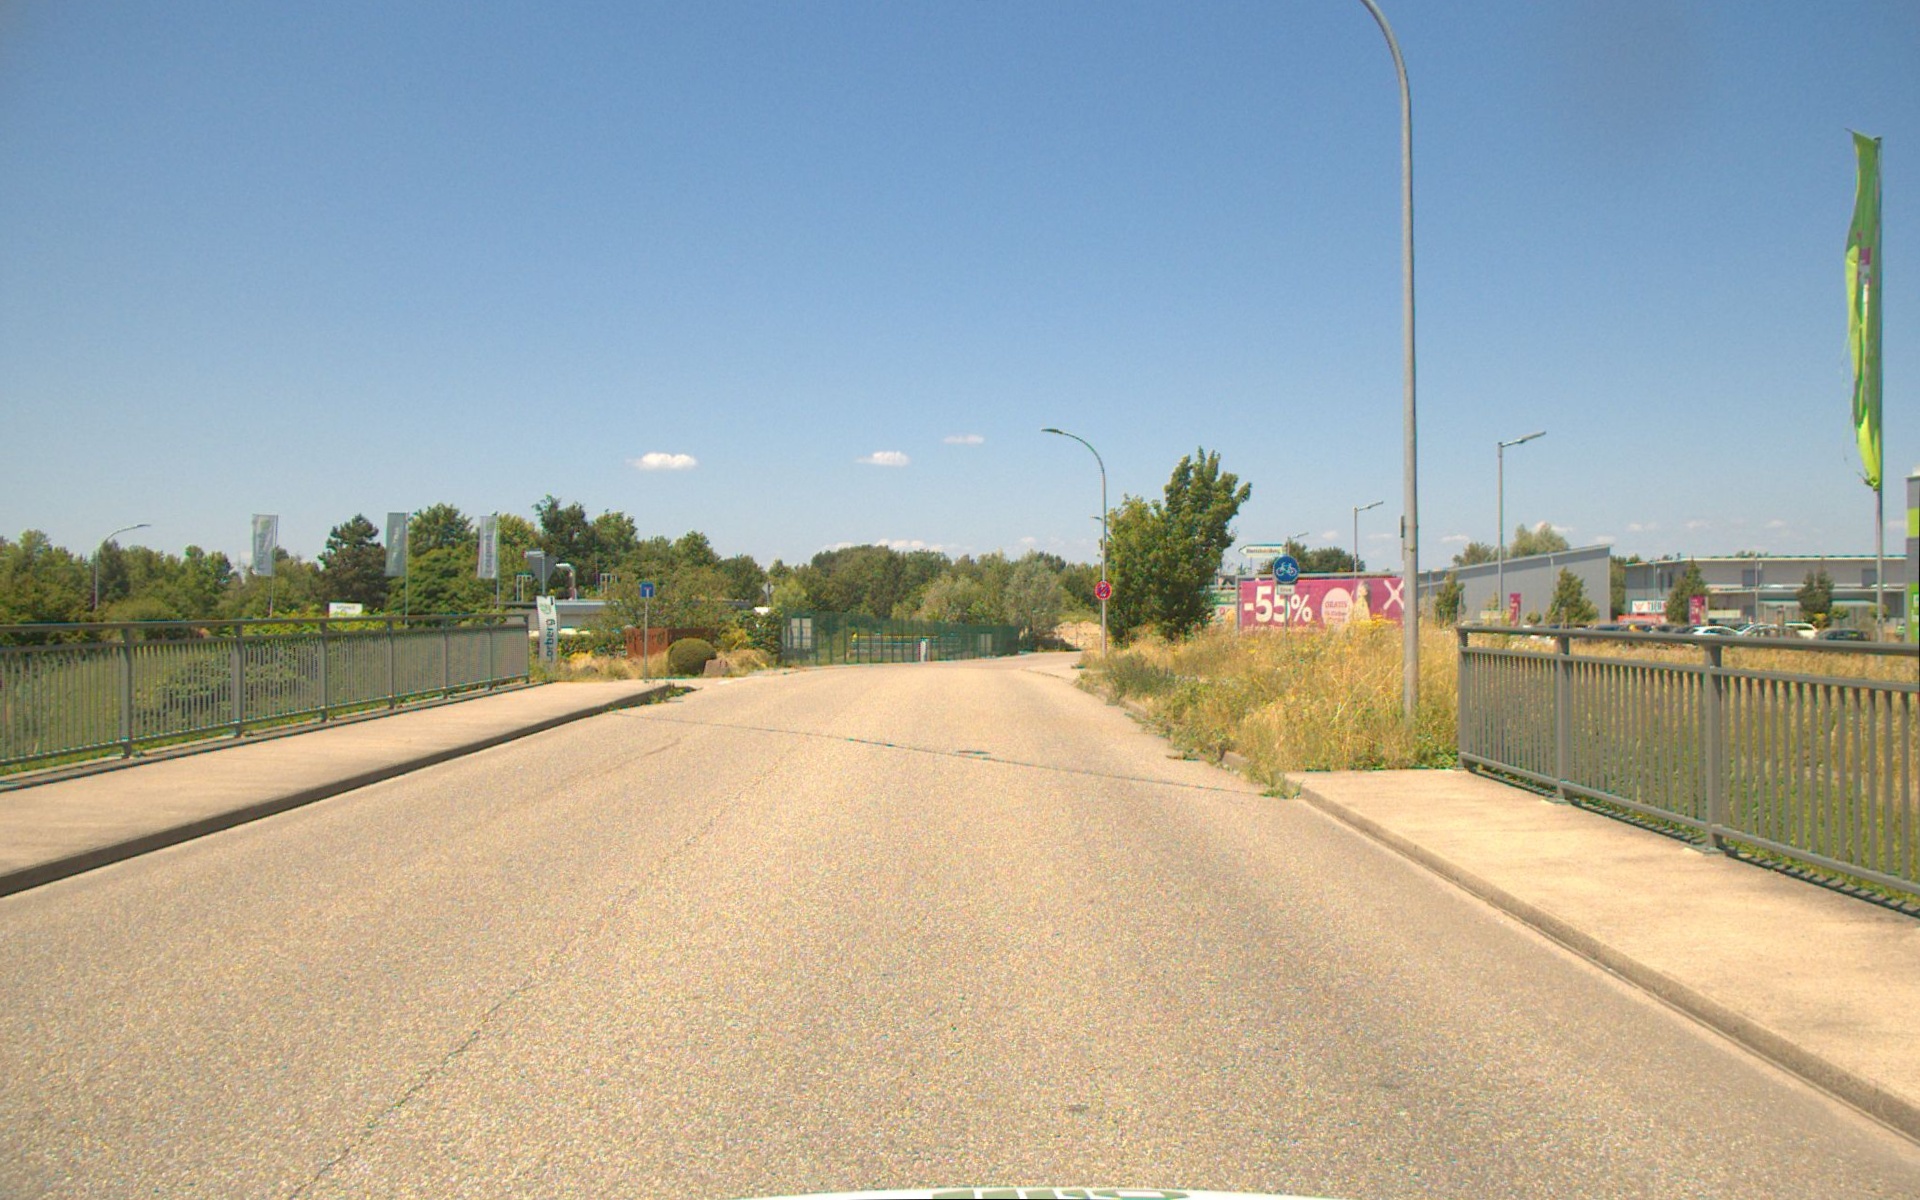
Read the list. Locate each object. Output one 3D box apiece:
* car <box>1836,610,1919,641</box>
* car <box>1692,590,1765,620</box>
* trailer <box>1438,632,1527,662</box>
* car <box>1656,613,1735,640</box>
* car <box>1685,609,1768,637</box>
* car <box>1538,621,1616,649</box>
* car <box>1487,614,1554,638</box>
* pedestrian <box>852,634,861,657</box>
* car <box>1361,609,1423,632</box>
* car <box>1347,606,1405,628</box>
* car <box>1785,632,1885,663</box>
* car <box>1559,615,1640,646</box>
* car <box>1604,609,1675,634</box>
[{"bbox_3d":[47.989,1.317,85.913,3.904,1.546,2.000,-1,-2,1],"label":"car"},{"bbox_3d":[50.936,0.315,109.676,3.903,1.881,2.001,-1,-2,4],"label":"car"},{"bbox_3d":[25.804,2.327,81.771,3.903,1.422,1.765,0,-1,4],"label":"trailer"},{"bbox_3d":[44.726,1.615,100.642,3.903,1.546,2.001,-1,-2,4],"label":"car"},{"bbox_3d":[44.761,1.369,96.627,3.903,1.546,2.001,-1,-2,4],"label":"car"},{"bbox_3d":[33.857,1.927,90.835,3.656,1.469,1.944,0,0,6],"label":"car"},{"bbox_3d":[35.456,1.632,104.657,3.656,1.469,1.944,0,0,6],"label":"car"},{"bbox_3d":[-8.473,3.720,135.335,0.593,1.871,0.805,-1,-2,8],"label":"pedestrian"},{"bbox_3d":[28.305,1.343,108.416,3.656,1.469,1.944,0,0,6],"label":"car"},{"bbox_3d":[28.871,1.202,114.800,3.656,1.469,1.944,0,0,6],"label":"car"},{"bbox_3d":[43.322,2.348,81.955,3.904,1.501,2.000,-1,-2,1],"label":"car"},{"bbox_3d":[33.835,1.588,87.553,3.656,1.598,1.892,0,-1,6],"label":"car"},{"bbox_3d":[44.725,1.409,108.937,3.903,1.546,2.001,-1,-2,4],"label":"car"}]
